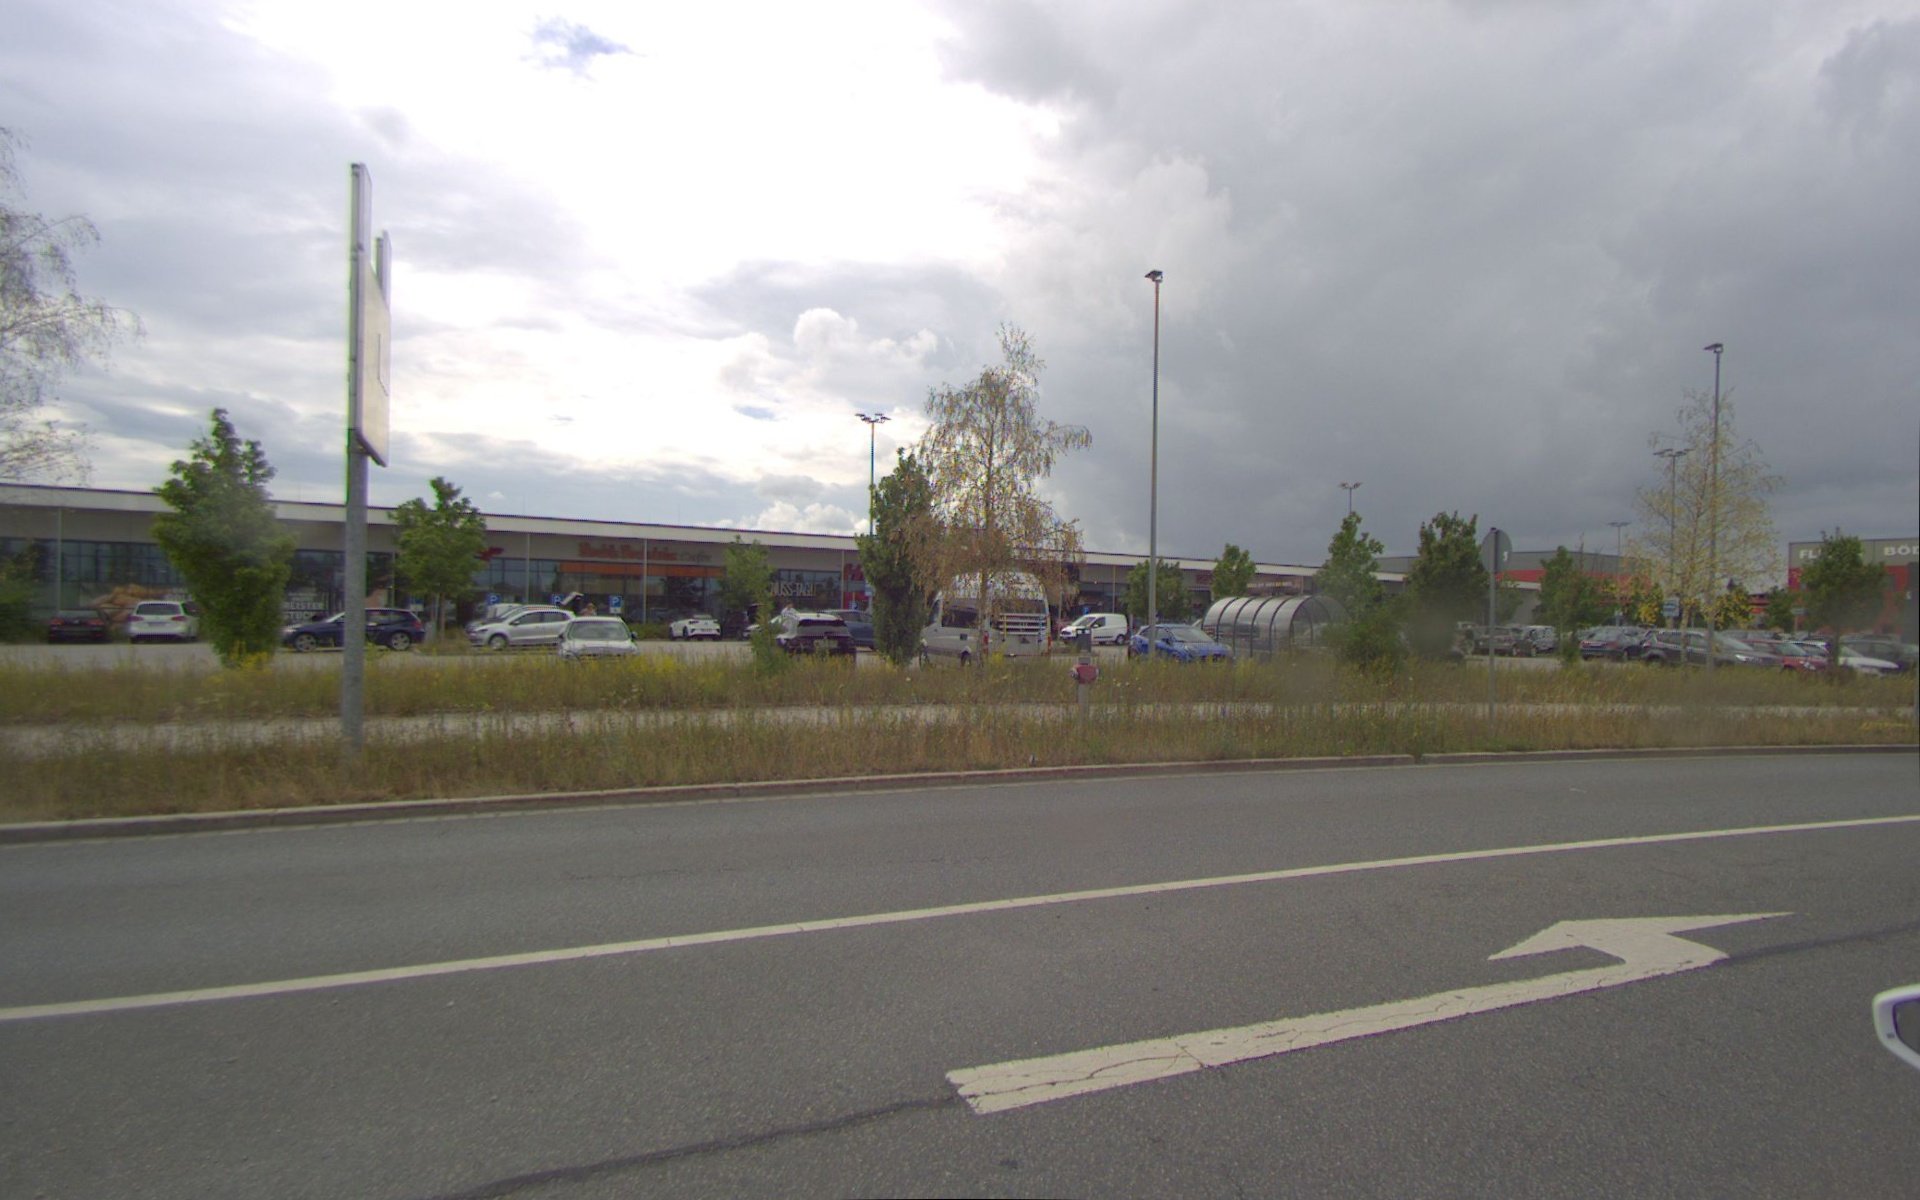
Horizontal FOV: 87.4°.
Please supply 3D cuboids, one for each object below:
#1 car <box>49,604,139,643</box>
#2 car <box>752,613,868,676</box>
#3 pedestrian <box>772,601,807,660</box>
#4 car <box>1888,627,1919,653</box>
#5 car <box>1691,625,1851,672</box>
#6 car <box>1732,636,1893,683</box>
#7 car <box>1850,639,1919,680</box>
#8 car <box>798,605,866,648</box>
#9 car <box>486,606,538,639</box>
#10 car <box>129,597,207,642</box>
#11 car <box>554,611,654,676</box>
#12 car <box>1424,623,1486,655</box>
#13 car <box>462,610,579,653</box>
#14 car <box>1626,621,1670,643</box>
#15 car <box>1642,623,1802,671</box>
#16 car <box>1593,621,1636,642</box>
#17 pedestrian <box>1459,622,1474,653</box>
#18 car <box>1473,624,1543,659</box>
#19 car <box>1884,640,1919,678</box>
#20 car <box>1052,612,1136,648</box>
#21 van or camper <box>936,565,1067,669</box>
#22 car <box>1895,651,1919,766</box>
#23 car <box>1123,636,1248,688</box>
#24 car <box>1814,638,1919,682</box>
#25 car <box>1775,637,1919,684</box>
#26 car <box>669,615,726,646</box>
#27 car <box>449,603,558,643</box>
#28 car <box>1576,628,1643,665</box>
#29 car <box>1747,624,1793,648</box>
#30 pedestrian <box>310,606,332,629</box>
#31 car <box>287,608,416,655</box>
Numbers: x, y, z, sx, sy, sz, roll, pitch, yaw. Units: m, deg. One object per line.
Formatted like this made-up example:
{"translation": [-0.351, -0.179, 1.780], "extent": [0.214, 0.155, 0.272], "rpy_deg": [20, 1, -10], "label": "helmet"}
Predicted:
{"translation": [-34.547, 0.908, 40.188], "extent": [1.889, 1.463, 3.970], "rpy_deg": [1, -1, -29], "label": "car"}
{"translation": [-3.953, 1.116, 25.844], "extent": [1.967, 1.470, 4.127], "rpy_deg": [2, -2, -23], "label": "car"}
{"translation": [-5.976, 1.057, 35.157], "extent": [0.989, 2.040, 0.863], "rpy_deg": [1, -1, -23], "label": "pedestrian"}
{"translation": [64.294, 2.657, 67.769], "extent": [3.798, 1.675, 1.746], "rpy_deg": [1, 0, -36], "label": "car"}
{"translation": [27.190, 1.596, 33.813], "extent": [1.884, 1.409, 3.798], "rpy_deg": [1, 0, -19], "label": "car"}
{"translation": [29.136, 1.984, 34.480], "extent": [1.884, 1.409, 3.798], "rpy_deg": [1, 0, -19], "label": "car"}
{"translation": [35.372, 2.198, 36.732], "extent": [1.884, 1.409, 3.798], "rpy_deg": [1, 0, -19], "label": "car"}
{"translation": [-5.330, 1.078, 41.534], "extent": [1.794, 1.675, 3.978], "rpy_deg": [1, -1, -23], "label": "car"}
{"translation": [-21.754, 1.052, 48.676], "extent": [1.976, 1.528, 3.969], "rpy_deg": [1, -1, -29], "label": "car"}
{"translation": [-32.639, 0.756, 41.509], "extent": [1.807, 1.723, 4.202], "rpy_deg": [1, 0, -28], "label": "car"}
{"translation": [-8.639, 1.010, 24.167], "extent": [1.967, 1.402, 4.127], "rpy_deg": [2, -2, -23], "label": "car"}
{"translation": [27.495, 2.156, 55.776], "extent": [3.805, 1.675, 1.742], "rpy_deg": [1, 0, -40], "label": "car"}
{"translation": [-15.973, 1.145, 36.551], "extent": [3.717, 1.473, 1.653], "rpy_deg": [2, -1, -32], "label": "car"}
{"translation": [55.331, 2.547, 80.811], "extent": [3.798, 1.675, 1.746], "rpy_deg": [1, 0, -36], "label": "car"}
{"translation": [24.935, 1.508, 33.005], "extent": [1.884, 1.409, 3.798], "rpy_deg": [1, 0, -19], "label": "car"}
{"translation": [53.939, 2.577, 82.801], "extent": [3.798, 1.675, 1.746], "rpy_deg": [1, 0, -36], "label": "car"}
{"translation": [26.468, 1.937, 52.481], "extent": [0.498, 1.598, 0.510], "rpy_deg": [1, -1, -38], "label": "pedestrian"}
{"translation": [29.163, 2.172, 53.407], "extent": [3.967, 1.757, 1.977], "rpy_deg": [1, 0, -40], "label": "car"}
{"translation": [37.291, 2.254, 37.408], "extent": [1.884, 1.409, 3.798], "rpy_deg": [1, 0, -19], "label": "car"}
{"translation": [7.397, 1.668, 55.423], "extent": [4.383, 1.843, 1.981], "rpy_deg": [2, -2, -34], "label": "car"}
{"translation": [1.003, 0.476, 26.850], "extent": [2.254, 2.525, 3.985], "rpy_deg": [2, -2, -18], "label": "van or camper"}
{"translation": [13.898, 1.380, 12.340], "extent": [4.084, 1.402, 1.768], "rpy_deg": [2, -2, -18], "label": "car"}
{"translation": [6.649, 1.810, 30.101], "extent": [1.782, 1.402, 4.133], "rpy_deg": [2, -2, -18], "label": "car"}
{"translation": [33.355, 2.135, 35.971], "extent": [1.884, 1.409, 3.798], "rpy_deg": [1, 0, -19], "label": "car"}
{"translation": [31.253, 2.072, 35.202], "extent": [1.884, 1.409, 3.798], "rpy_deg": [1, 0, -19], "label": "car"}
{"translation": [-13.940, 1.608, 53.170], "extent": [1.976, 1.528, 3.969], "rpy_deg": [2, -1, -29], "label": "car"}
{"translation": [-17.794, 0.890, 39.179], "extent": [3.717, 1.473, 1.653], "rpy_deg": [2, -1, -32], "label": "car"}
{"translation": [31.785, 2.255, 49.148], "extent": [3.805, 1.675, 1.742], "rpy_deg": [1, 0, -40], "label": "car"}
{"translation": [60.011, 2.638, 74.408], "extent": [3.798, 1.675, 1.746], "rpy_deg": [1, 0, -36], "label": "car"}
{"translation": [-33.112, 0.922, 52.050], "extent": [0.963, 1.170, 1.123], "rpy_deg": [1, -1, -33], "label": "pedestrian"}
{"translation": [-20.266, 1.054, 33.554], "extent": [3.579, 1.473, 1.653], "rpy_deg": [2, -1, -33], "label": "car"}
